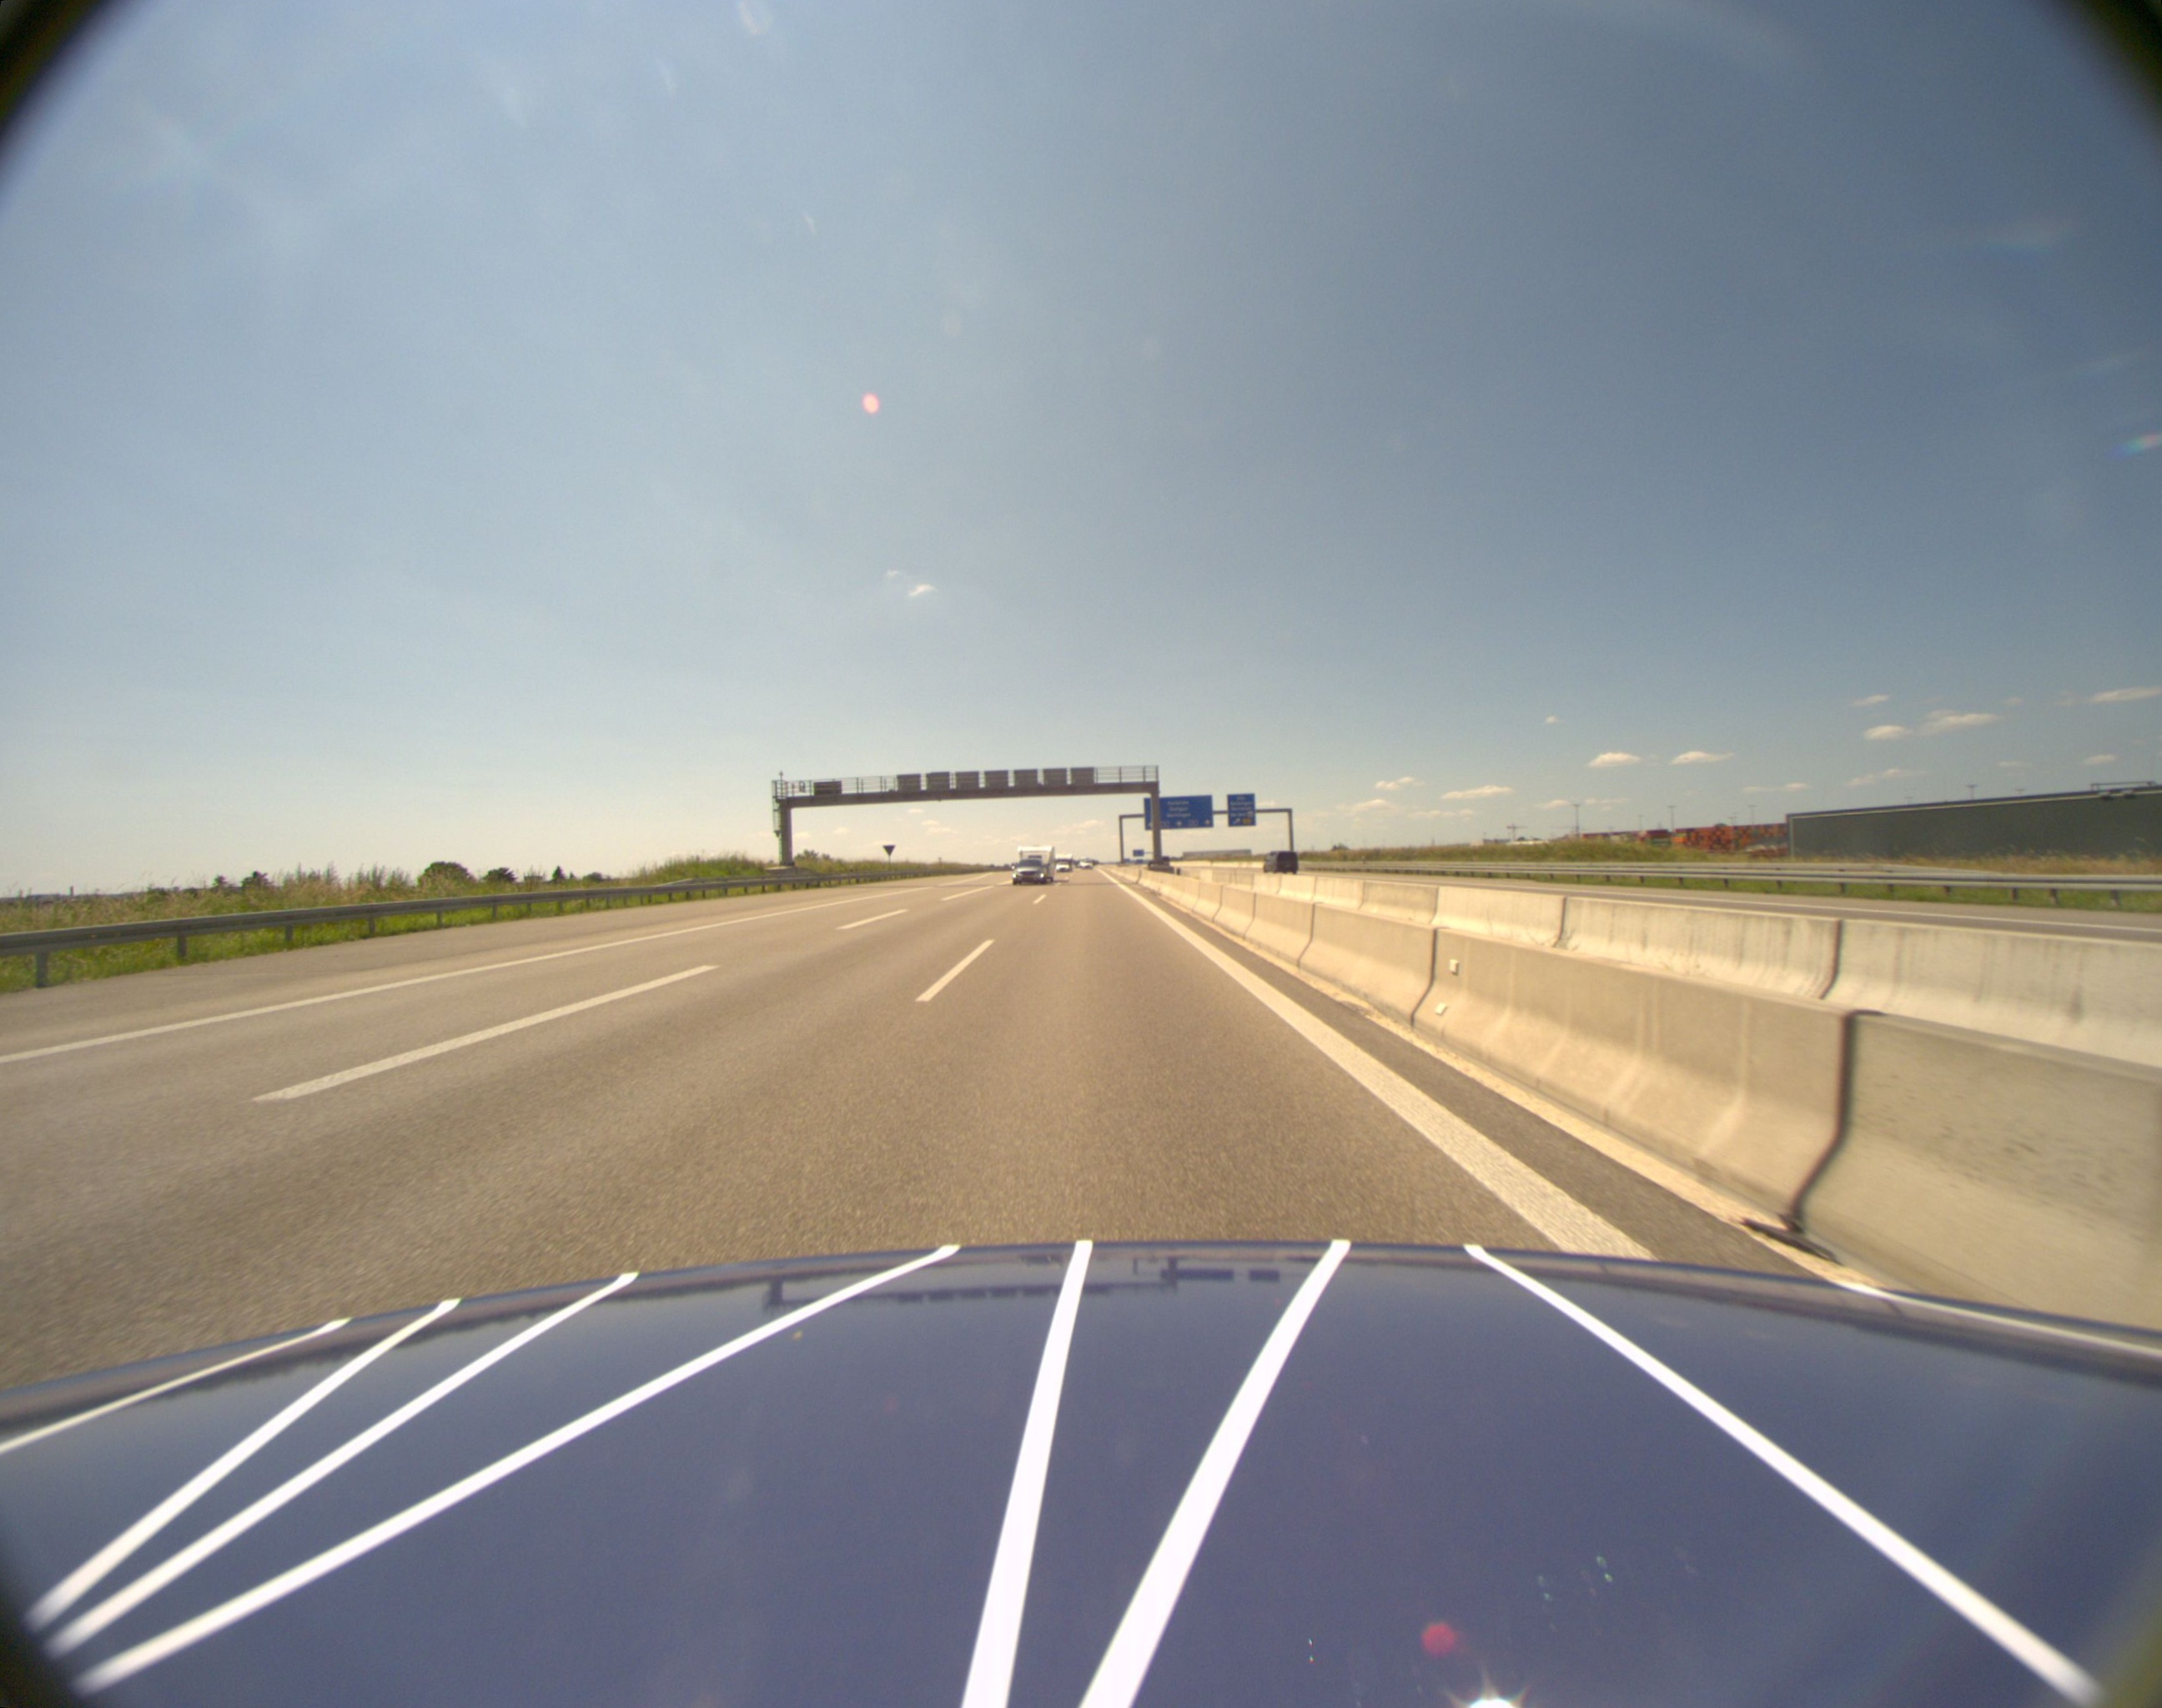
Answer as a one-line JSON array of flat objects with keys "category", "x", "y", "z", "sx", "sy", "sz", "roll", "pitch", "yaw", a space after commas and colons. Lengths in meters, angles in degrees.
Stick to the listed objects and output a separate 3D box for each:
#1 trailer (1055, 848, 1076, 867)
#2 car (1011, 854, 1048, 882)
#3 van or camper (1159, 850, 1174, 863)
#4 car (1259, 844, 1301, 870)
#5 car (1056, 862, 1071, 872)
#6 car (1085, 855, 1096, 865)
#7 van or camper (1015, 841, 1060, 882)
[{"category": "trailer", "x": -2.189, "y": 0.559, "z": 110.487, "sx": 2.500, "sy": 2.685, "sz": 7.157, "roll": -1, "pitch": -1, "yaw": 3}, {"category": "car", "x": -3.147, "y": 0.868, "z": 47.286, "sx": 1.885, "sy": 1.613, "sz": 4.905, "roll": -1, "pitch": -1, "yaw": 1}, {"category": "van or camper", "x": 18.467, "y": 0.563, "z": 164.449, "sx": 2.325, "sy": 2.543, "sz": 6.316, "roll": -1, "pitch": 0, "yaw": 0}, {"category": "car", "x": 16.515, "y": 0.272, "z": 63.313, "sx": 2.153, "sy": 2.001, "sz": 5.383, "roll": 1, "pitch": -1, "yaw": 1}, {"category": "car", "x": -2.366, "y": 1.817, "z": 105.069, "sx": 1.872, "sy": 1.351, "sz": 3.674, "roll": 0, "pitch": -1, "yaw": 3}, {"category": "car", "x": 1.818, "y": 1.124, "z": 145.018, "sx": 1.998, "sy": 2.002, "sz": 4.000, "roll": -1, "pitch": 0, "yaw": 1}, {"category": "van or camper", "x": -2.932, "y": 0.455, "z": 53.468, "sx": 2.518, "sy": 2.578, "sz": 7.816, "roll": -1, "pitch": 1, "yaw": 1}]
